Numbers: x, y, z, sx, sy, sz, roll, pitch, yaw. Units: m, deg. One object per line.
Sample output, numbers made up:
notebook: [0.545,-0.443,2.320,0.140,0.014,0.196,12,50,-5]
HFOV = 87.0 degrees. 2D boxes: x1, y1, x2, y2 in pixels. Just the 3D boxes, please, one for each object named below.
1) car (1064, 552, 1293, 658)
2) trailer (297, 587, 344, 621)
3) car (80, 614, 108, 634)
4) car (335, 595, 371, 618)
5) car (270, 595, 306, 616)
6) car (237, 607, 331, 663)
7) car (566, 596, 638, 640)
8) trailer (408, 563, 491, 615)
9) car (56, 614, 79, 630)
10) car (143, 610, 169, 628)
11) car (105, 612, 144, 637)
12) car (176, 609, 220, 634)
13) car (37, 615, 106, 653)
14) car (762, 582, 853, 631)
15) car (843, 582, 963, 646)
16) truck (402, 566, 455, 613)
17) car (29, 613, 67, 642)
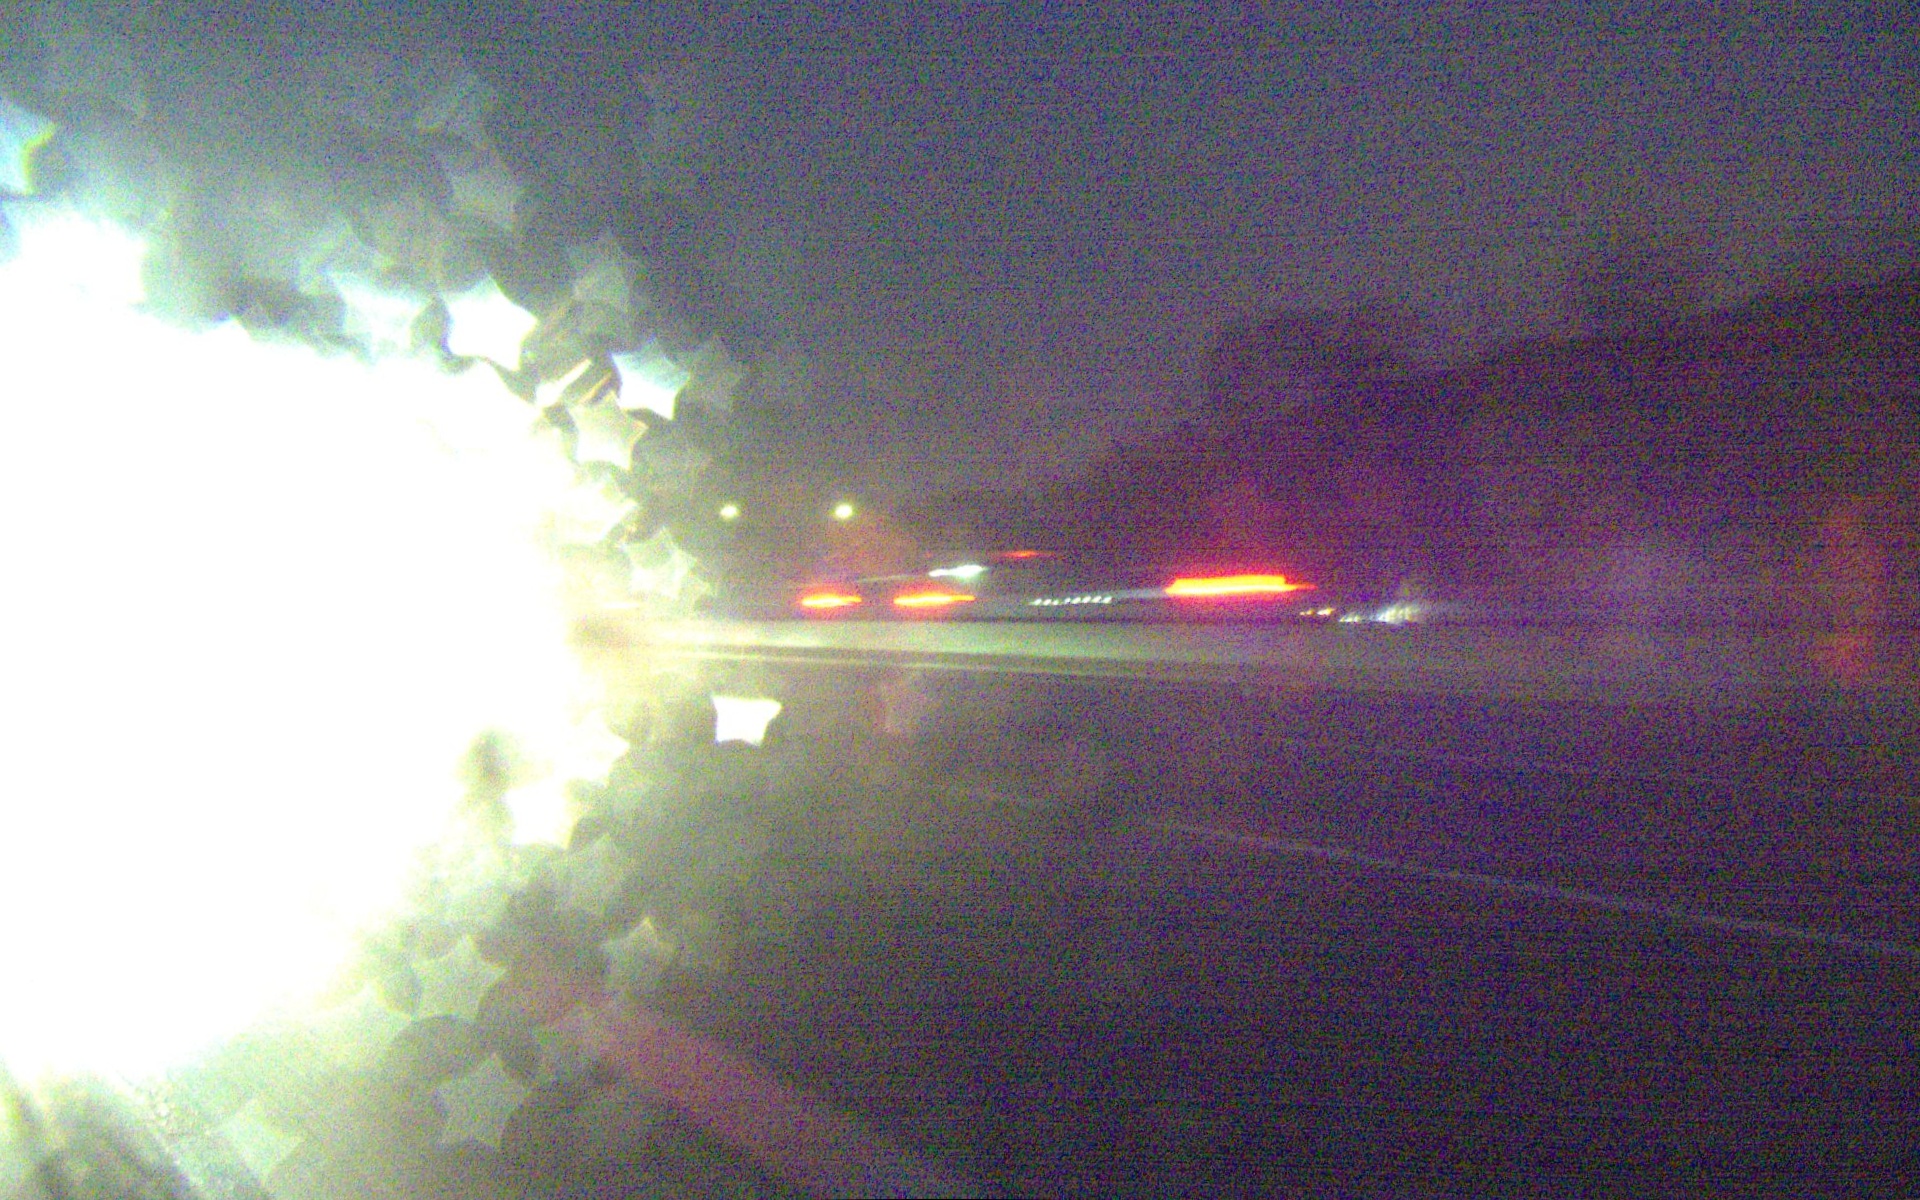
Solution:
car: [4.762,0.090,22.522,4.569,2.028,1.971,-1,4,45]
trailer: [-82.217,0.496,129.910,2.737,4.058,14.035,-6,3,-41]
car: [-87.410,2.439,102.163,1.902,1.807,4.004,-5,3,-43]
car: [-56.829,0.579,94.738,1.970,2.028,4.005,-6,4,-42]
car: [-62.389,0.546,93.925,4.002,1.784,1.971,-1,4,45]
car: [-21.758,1.088,32.502,4.002,1.608,1.703,-1,2,45]
car: [-18.468,0.901,52.145,1.970,2.028,4.005,-6,4,-42]
trailer: [-41.626,-0.836,82.185,2.620,3.758,13.966,-5,3,-40]
car: [-110.934,2.688,125.825,1.902,1.807,4.004,-5,3,-43]
car: [-87.386,2.029,109.956,1.901,1.807,4.006,-5,3,-41]
car: [-58.285,1.658,70.593,1.893,1.608,4.005,-3,1,-42]
car: [-53.050,1.461,70.431,4.002,1.608,1.895,-1,2,45]
car: [-41.892,1.583,47.701,3.998,1.608,1.897,-1,1,41]
car: [-6.958,0.286,45.975,4.002,1.996,1.971,-1,3,45]
car: [-2.061,0.483,36.174,4.000,2.028,1.973,-1,4,43]
truck: [-45.748,-0.883,87.094,2.620,3.758,5.713,-6,3,-40]
car: [-70.623,2.112,78.359,1.970,2.028,4.004,-6,4,-43]
